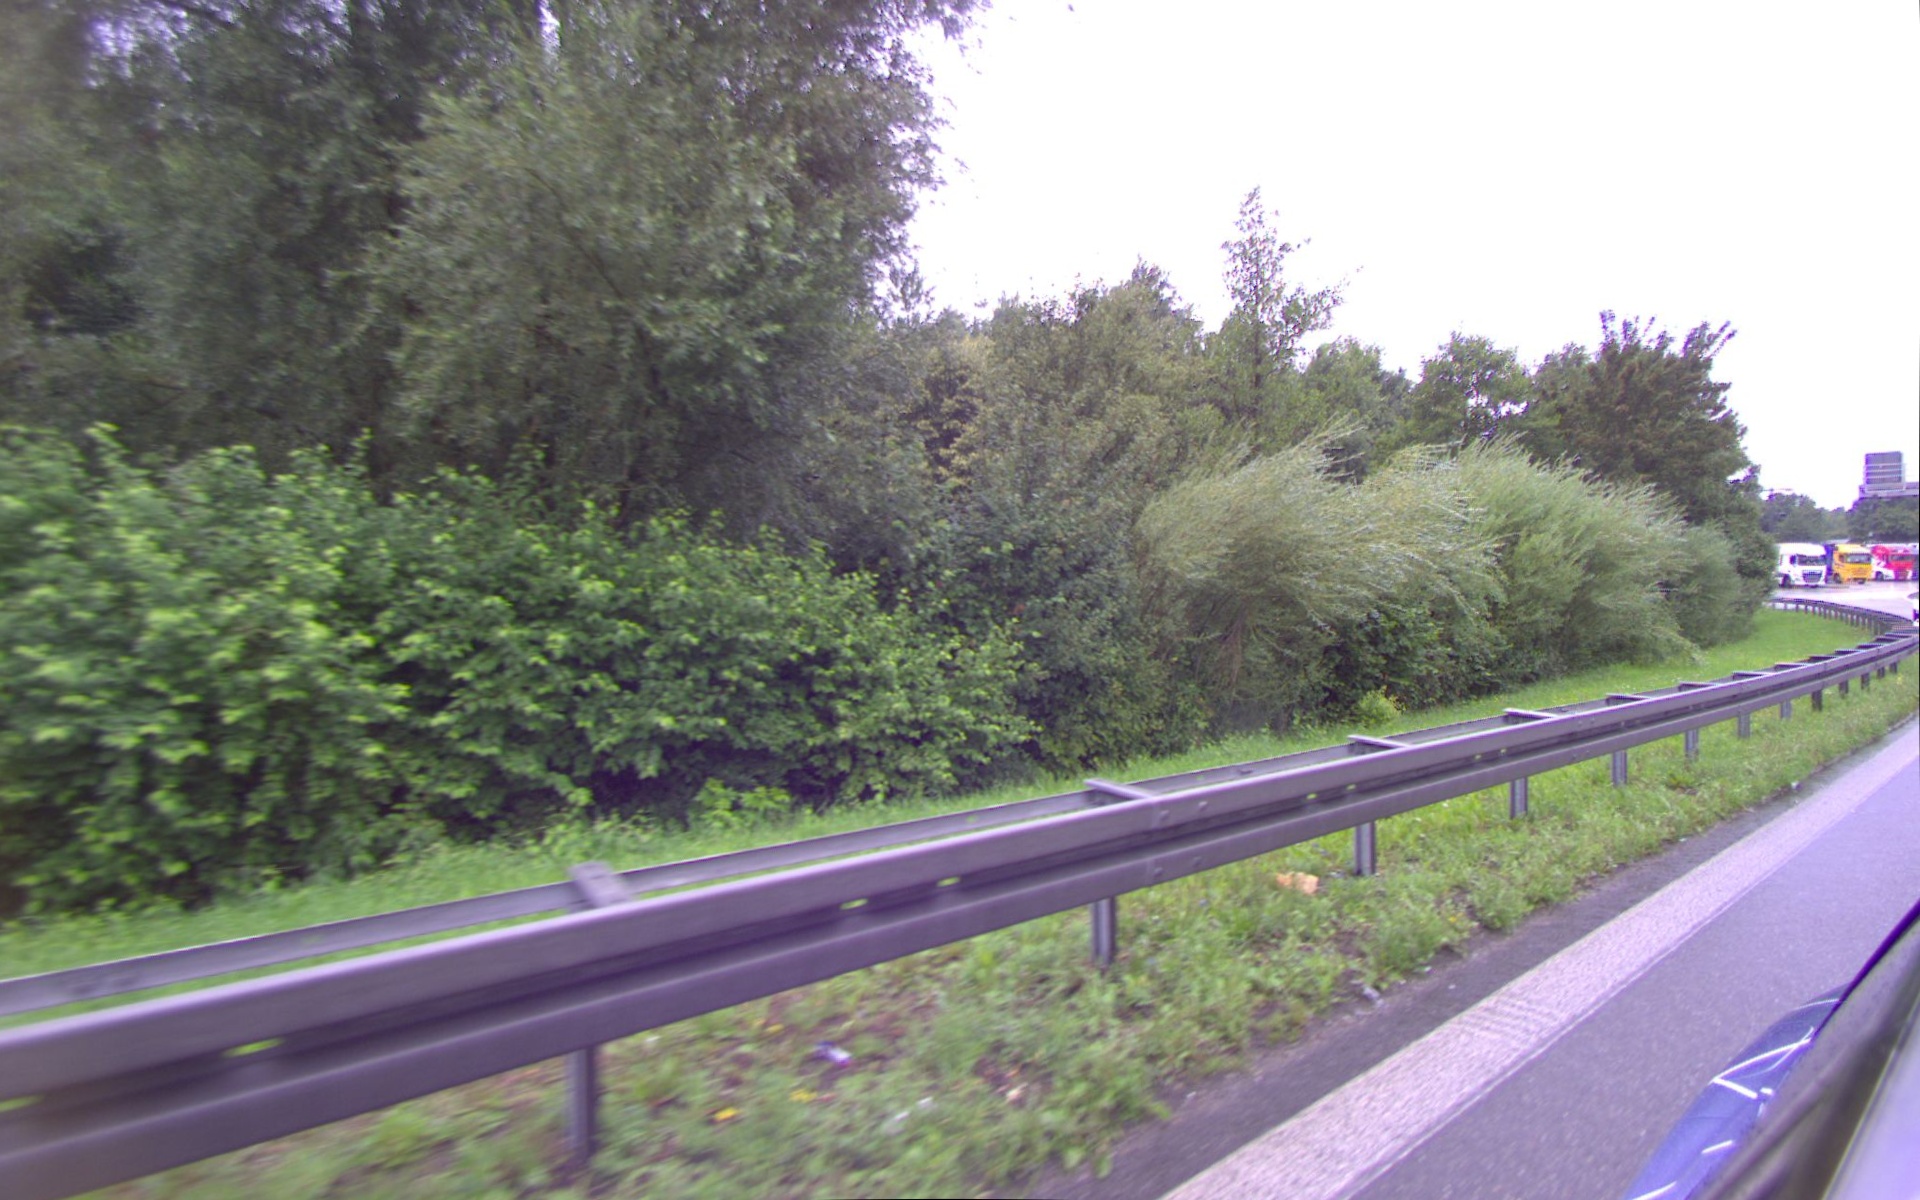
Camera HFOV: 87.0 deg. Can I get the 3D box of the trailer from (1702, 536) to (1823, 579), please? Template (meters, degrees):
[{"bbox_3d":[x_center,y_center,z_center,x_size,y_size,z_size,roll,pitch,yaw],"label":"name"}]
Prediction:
[{"bbox_3d":[78.816,-4.226,99.909,2.798,3.966,13.925,0,3,9],"label":"trailer"}]

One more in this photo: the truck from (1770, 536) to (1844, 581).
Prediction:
[{"bbox_3d":[77.693,-3.816,92.949,2.784,3.960,5.399,0,2,9],"label":"truck"}]

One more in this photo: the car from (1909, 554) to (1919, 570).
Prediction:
[{"bbox_3d":[120.351,-4.725,125.640,1.818,1.881,3.991,-1,2,9],"label":"car"}]

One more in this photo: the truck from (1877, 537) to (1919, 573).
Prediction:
[{"bbox_3d":[107.545,-5.145,114.079,2.850,3.967,6.547,0,3,7],"label":"truck"}]

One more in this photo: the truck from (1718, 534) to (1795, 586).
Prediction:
[{"bbox_3d":[65.756,-3.334,83.704,2.781,4.196,5.291,0,3,10],"label":"truck"}]

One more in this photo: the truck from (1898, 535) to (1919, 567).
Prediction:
[{"bbox_3d":[125.353,-6.298,129.803,3.190,4.141,7.928,0,3,7],"label":"truck"}]

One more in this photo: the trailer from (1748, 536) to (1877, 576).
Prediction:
[{"bbox_3d":[92.972,-4.873,111.007,2.823,3.966,16.593,0,3,10],"label":"trailer"}]

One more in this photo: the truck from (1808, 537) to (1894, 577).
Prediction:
[{"bbox_3d":[91.776,-4.437,104.457,2.795,3.966,8.109,0,3,11],"label":"truck"}]

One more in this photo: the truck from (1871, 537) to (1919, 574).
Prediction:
[{"bbox_3d":[103.723,-4.910,111.085,3.191,3.967,5.015,0,3,7],"label":"truck"}]

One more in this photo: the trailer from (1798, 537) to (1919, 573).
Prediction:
[{"bbox_3d":[104.520,-5.277,117.772,3.190,3.966,14.811,0,3,7],"label":"trailer"}]

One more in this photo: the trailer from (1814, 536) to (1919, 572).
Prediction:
[{"bbox_3d":[108.306,-5.516,120.449,2.827,3.966,13.917,0,3,7],"label":"trailer"}]
